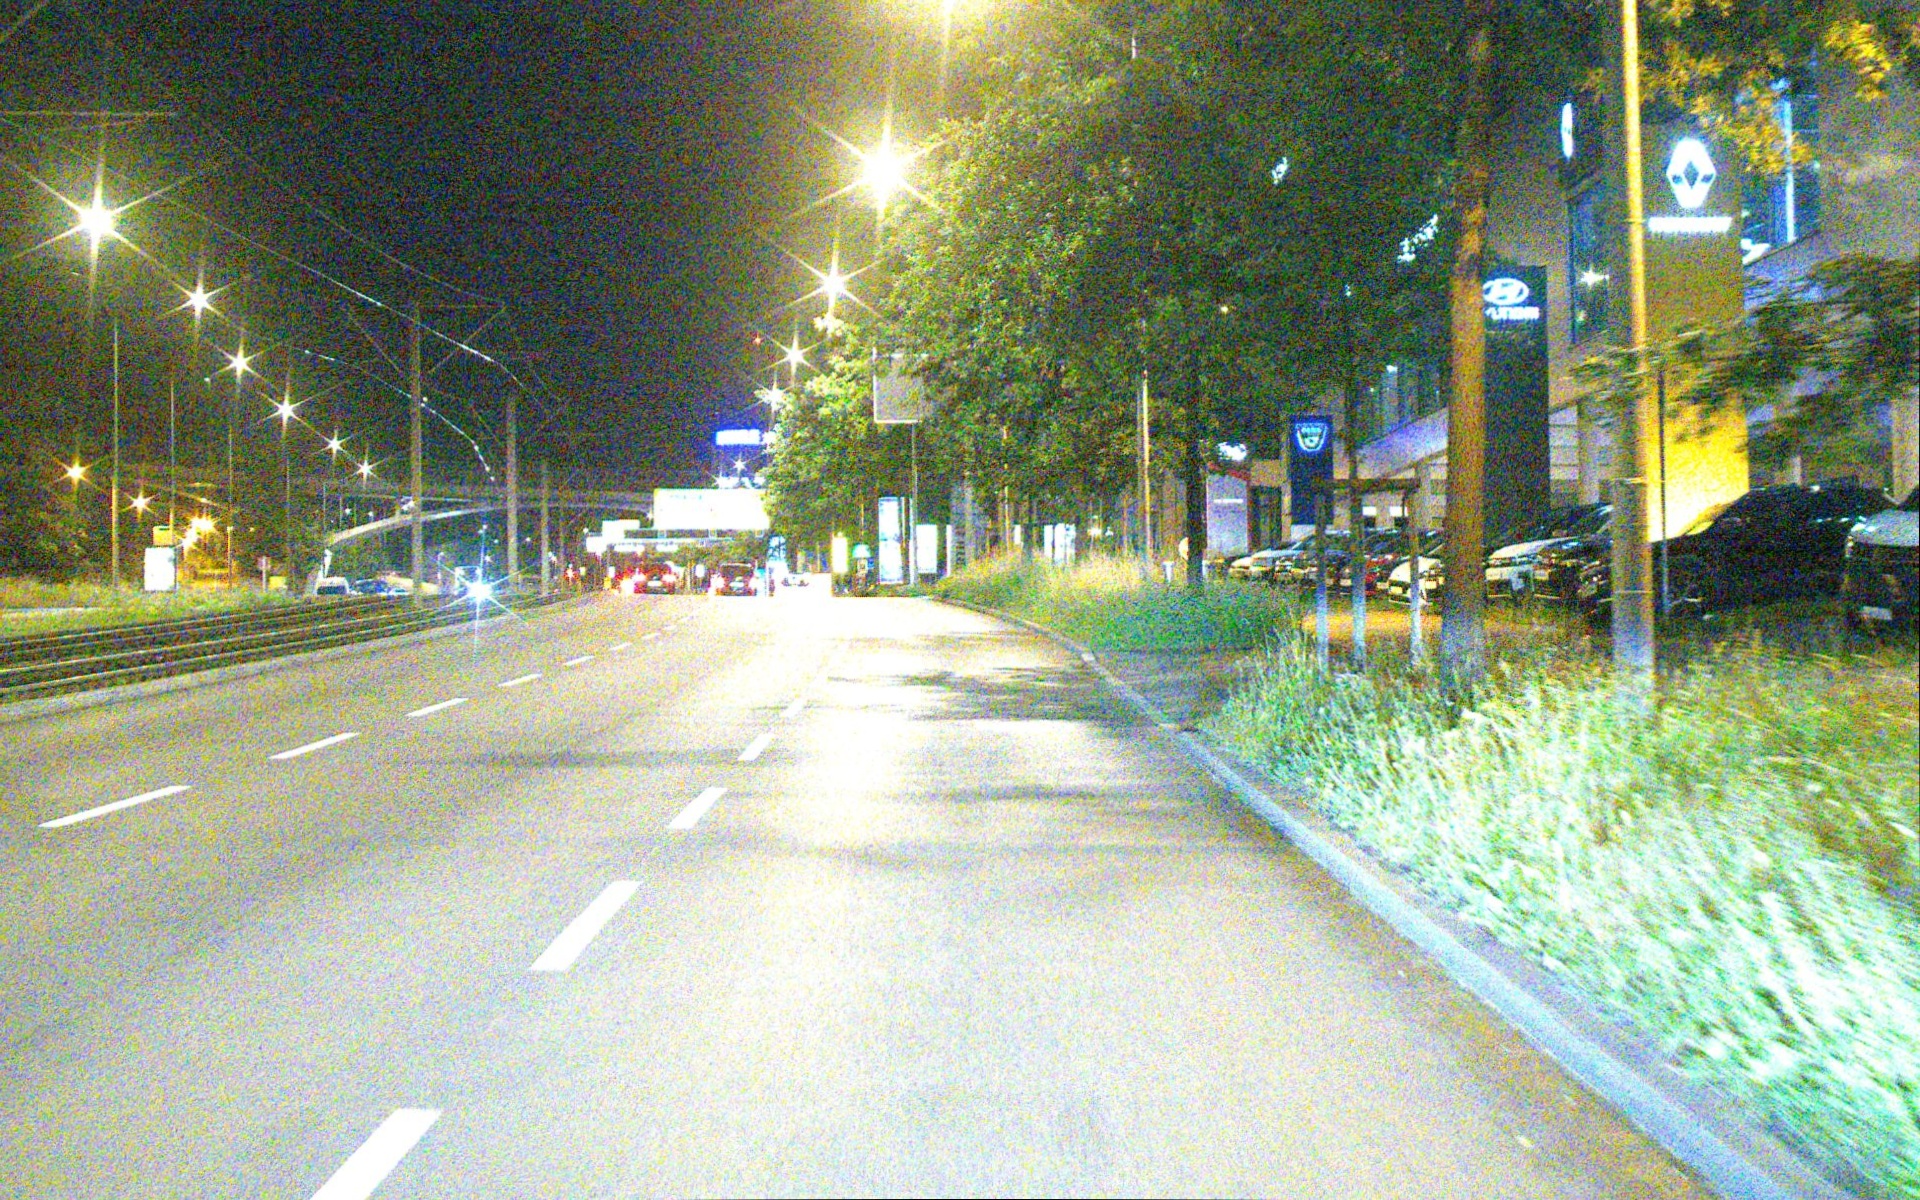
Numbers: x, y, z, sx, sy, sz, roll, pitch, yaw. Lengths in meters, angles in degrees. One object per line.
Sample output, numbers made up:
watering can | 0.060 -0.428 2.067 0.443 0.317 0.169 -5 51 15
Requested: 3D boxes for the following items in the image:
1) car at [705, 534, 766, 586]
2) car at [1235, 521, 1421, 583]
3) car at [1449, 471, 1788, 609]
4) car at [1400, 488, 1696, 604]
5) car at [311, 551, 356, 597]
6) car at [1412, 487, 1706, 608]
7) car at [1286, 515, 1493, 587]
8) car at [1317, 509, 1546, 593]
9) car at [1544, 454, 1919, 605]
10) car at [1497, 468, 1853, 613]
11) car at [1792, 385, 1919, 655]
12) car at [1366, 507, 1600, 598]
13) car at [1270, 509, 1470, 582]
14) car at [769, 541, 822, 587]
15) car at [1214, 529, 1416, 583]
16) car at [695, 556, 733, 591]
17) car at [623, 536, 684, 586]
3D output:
car | -9.255 -1.634 141.909 2.356 2.122 4.826 0 0 -2
car | 8.753 -1.159 81.835 3.986 1.419 1.910 -1 2 -19
car | 9.838 -0.904 51.495 4.459 1.681 2.001 -5 2 -12
car | 9.849 -0.896 57.697 4.459 1.542 1.770 -5 1 -11
car | -38.903 -1.575 213.248 2.145 2.662 6.964 -3 0 -14
car | 9.439 -0.841 54.316 4.079 1.563 1.855 -5 2 -12
car | 9.212 -1.068 73.744 3.986 1.387 1.827 -3 2 -24
car | 9.352 -0.967 68.220 4.022 1.369 1.826 -4 2 -17
car | 9.798 -0.897 43.662 4.201 1.657 1.962 -3 1 -12
car | 10.130 -0.854 48.820 4.459 1.804 2.001 -3 1 -12
car | 11.528 -1.034 33.858 6.015 2.520 2.284 -6 2 -18
car | 9.585 -0.882 63.057 3.801 1.448 1.718 -3 2 -15
car | 9.113 -1.212 76.432 3.986 1.465 1.833 -3 1 -21
car | -7.680 -1.663 160.598 2.427 2.106 4.826 0 0 -2
car | 8.740 -1.104 84.559 4.628 1.260 1.948 -1 2 -26
car | -13.253 -1.431 185.663 1.887 1.853 4.000 0 0 -2
car | -12.635 -1.595 141.800 2.262 2.007 4.826 0 0 -2
